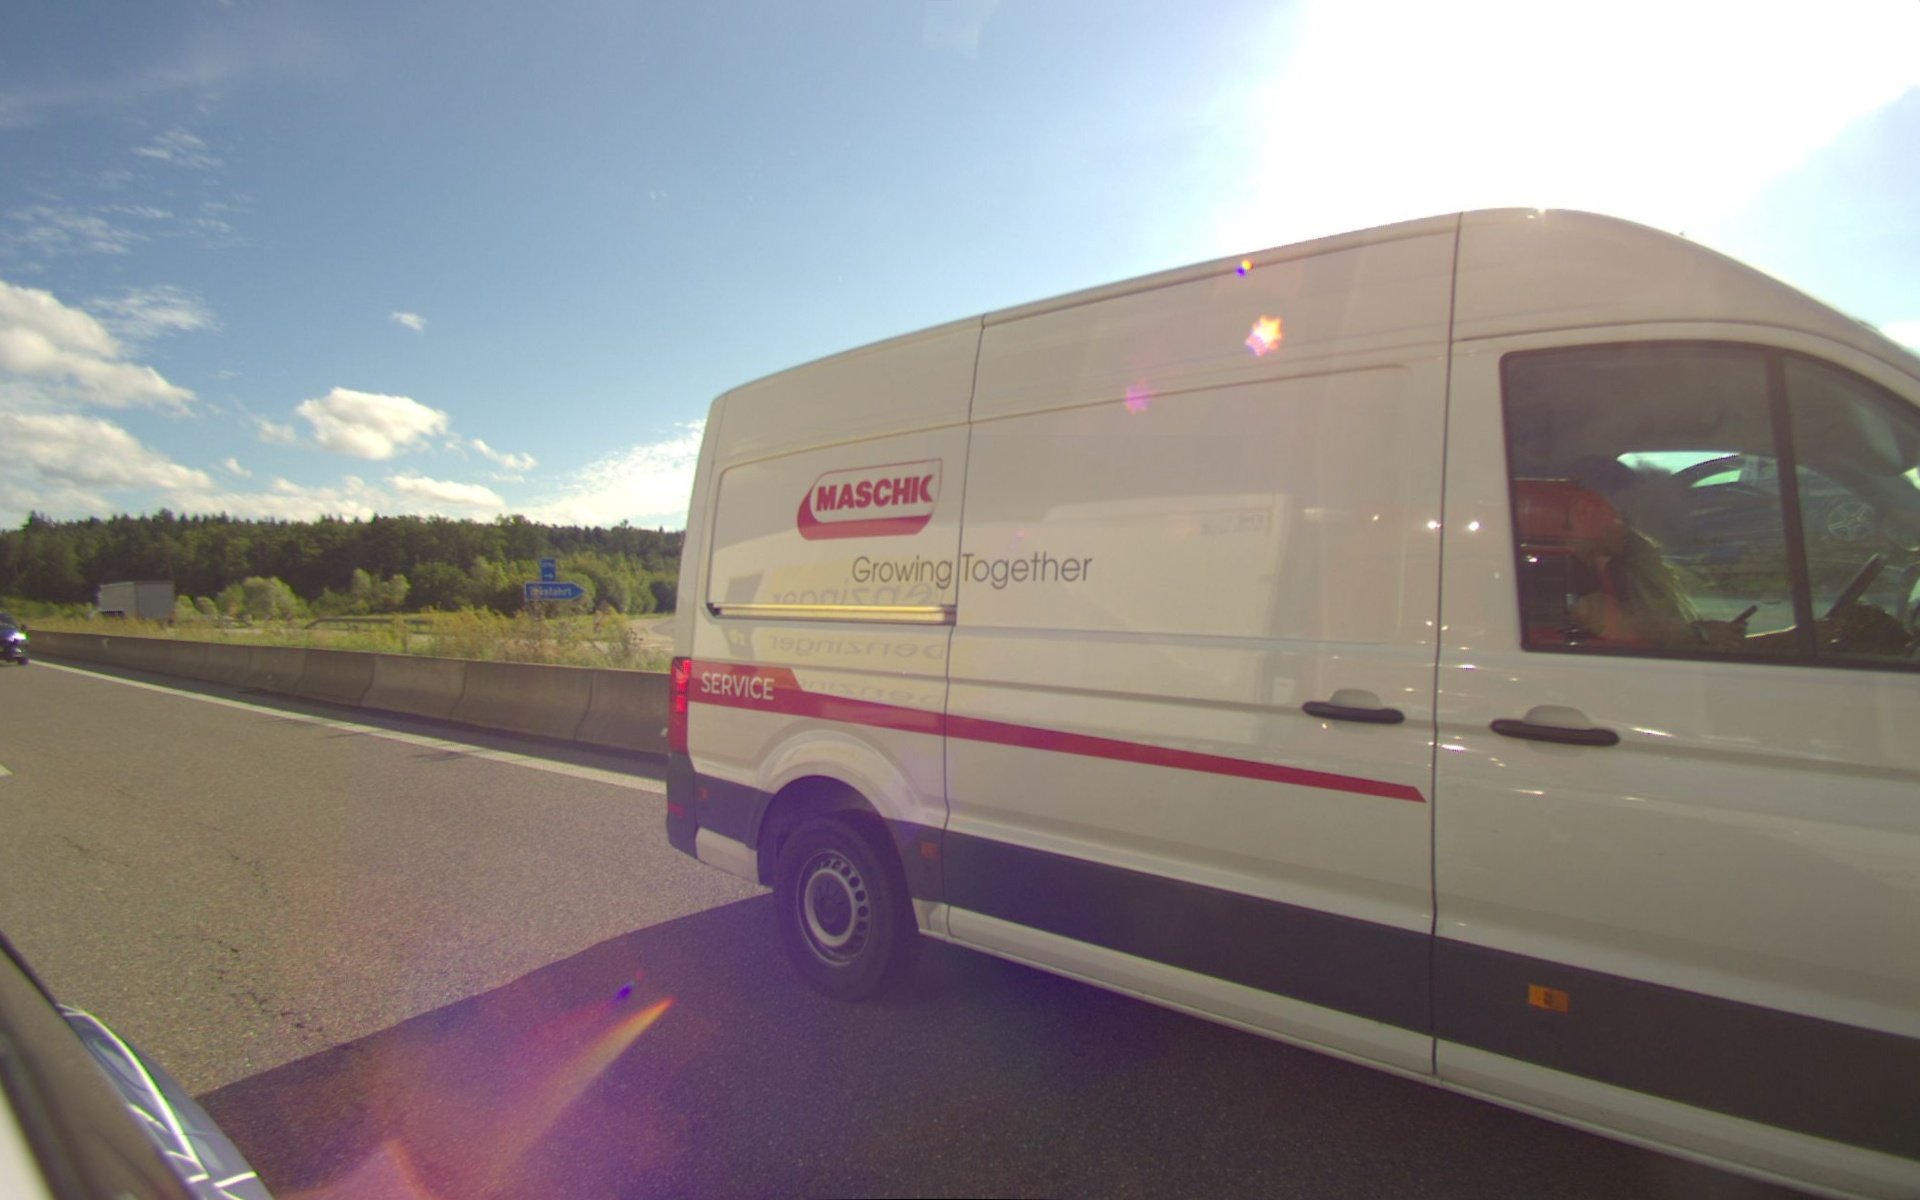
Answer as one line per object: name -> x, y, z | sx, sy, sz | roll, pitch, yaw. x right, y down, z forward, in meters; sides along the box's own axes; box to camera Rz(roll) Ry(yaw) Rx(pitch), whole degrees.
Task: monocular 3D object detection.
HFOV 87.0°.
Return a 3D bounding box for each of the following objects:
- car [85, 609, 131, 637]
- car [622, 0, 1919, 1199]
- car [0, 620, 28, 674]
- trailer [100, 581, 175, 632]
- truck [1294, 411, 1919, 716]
car -> -62.128, 1.677, 73.752 | 4.488, 1.890, 1.859 | -1, 2, 42
car -> 1.418, 0.128, 3.413 | 6.178, 2.619, 1.994 | -2, -2, 41
car -> -29.641, 1.398, 30.588 | 4.157, 1.554, 1.755 | -1, -1, 42
trailer -> -69.495, 0.567, 85.394 | 13.545, 4.022, 2.802 | -1, 0, 42
truck -> 10.892, -0.411, 14.925 | 11.127, 3.717, 2.802 | -1, -1, 41
